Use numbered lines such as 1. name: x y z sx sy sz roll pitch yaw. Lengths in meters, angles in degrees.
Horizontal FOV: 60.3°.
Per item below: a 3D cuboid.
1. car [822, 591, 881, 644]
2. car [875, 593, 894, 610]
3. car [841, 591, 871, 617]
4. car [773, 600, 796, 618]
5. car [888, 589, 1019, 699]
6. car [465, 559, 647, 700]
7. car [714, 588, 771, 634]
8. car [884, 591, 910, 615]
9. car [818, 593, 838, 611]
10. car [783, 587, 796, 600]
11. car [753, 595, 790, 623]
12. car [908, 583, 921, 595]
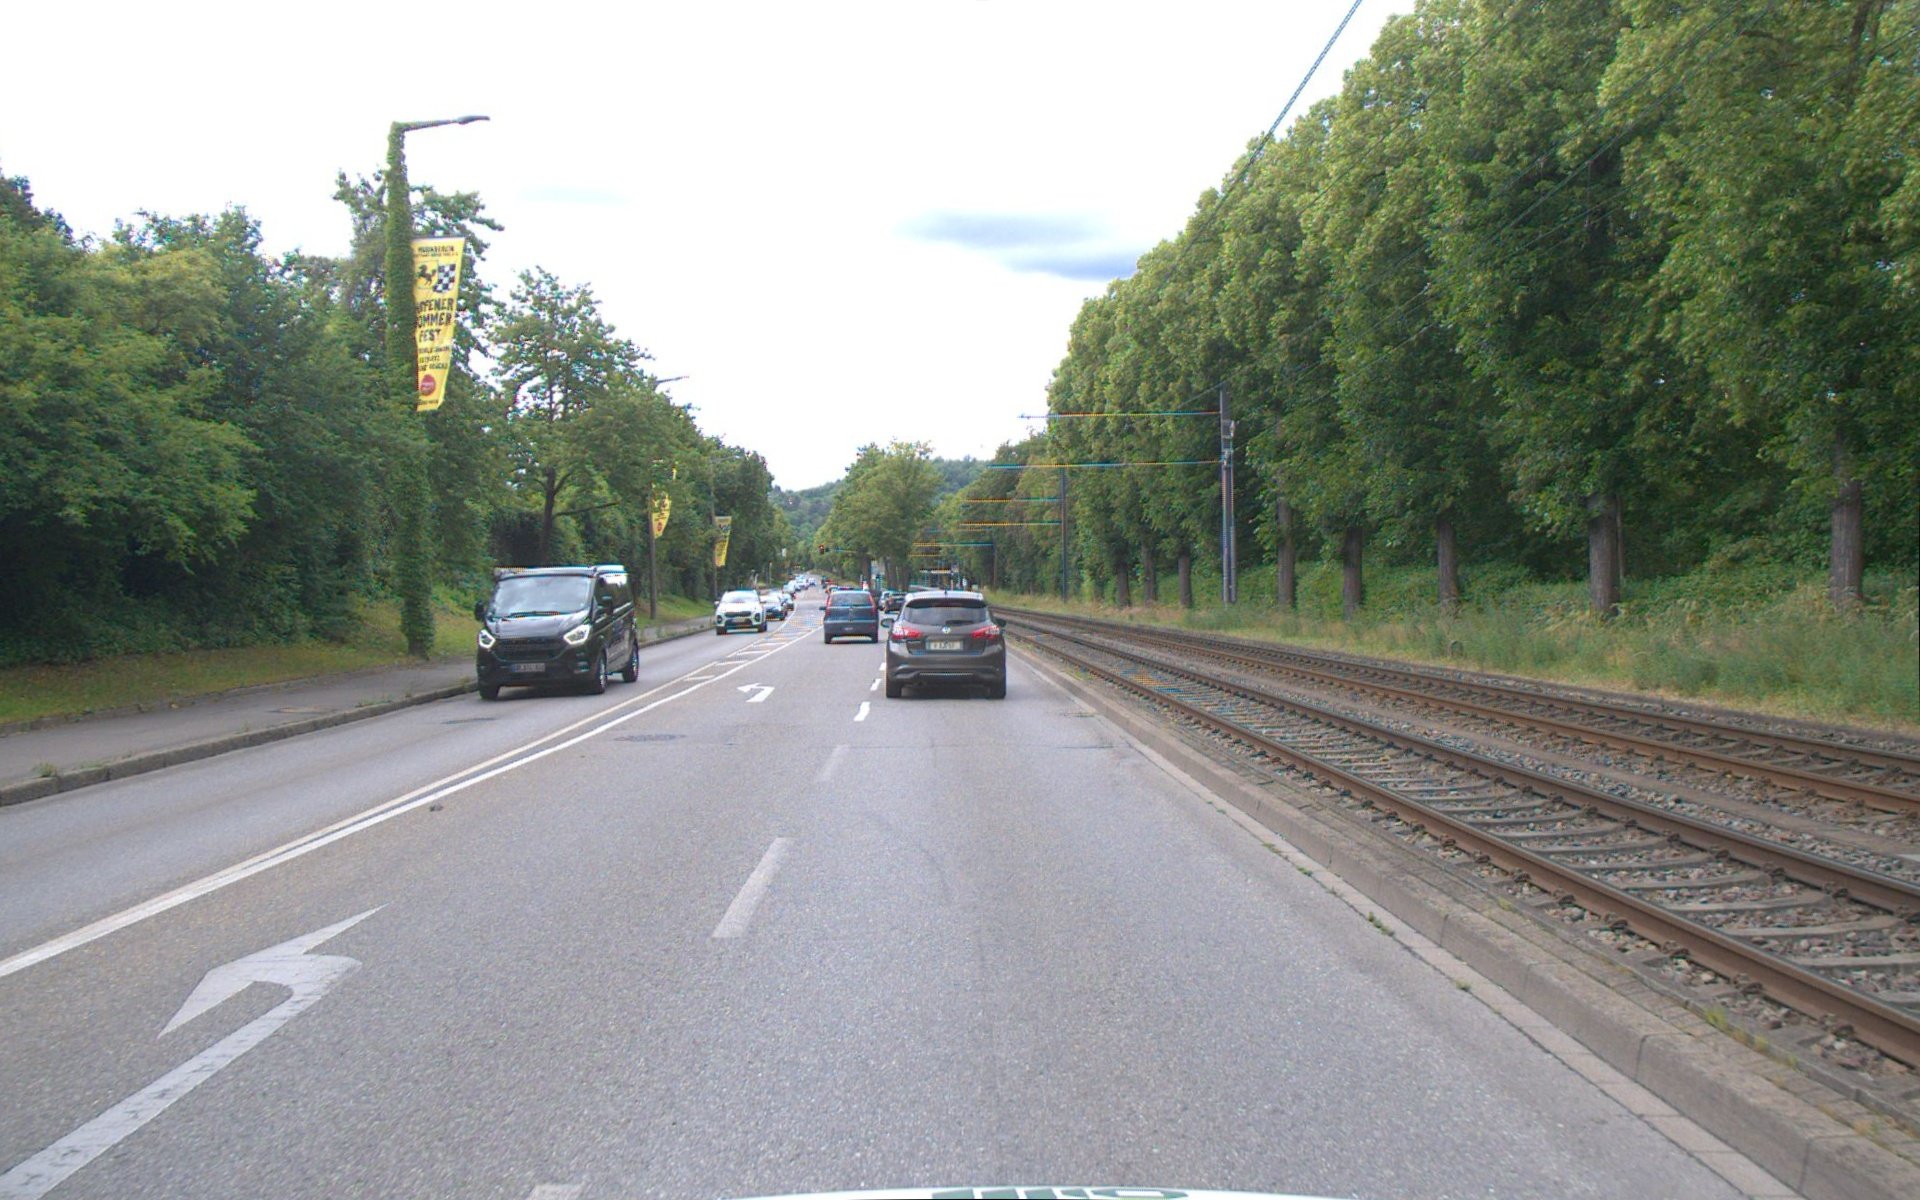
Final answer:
1. car: -3.154 0.479 48.455 1.666 1.469 3.998 0 0 -3
2. car: -6.869 0.148 150.949 1.681 1.577 3.998 0 0 -2
3. car: -6.155 0.245 97.979 1.681 1.460 3.998 0 0 -2
4. car: -14.872 0.789 140.225 1.806 1.399 4.442 -3 0 -6
5. car: -0.120 0.607 24.929 1.813 1.519 3.999 0 0 -1
6. car: -6.673 0.439 27.899 1.954 2.071 5.113 -3 0 -3
7. car: -8.507 0.411 64.958 1.805 1.648 4.157 -2 0 -3
8. car: -4.221 0.229 110.764 1.681 1.577 3.998 0 0 -2
9. car: -12.884 0.201 162.117 1.665 1.744 3.999 0 0 -1
10. car: -23.445 -0.927 227.077 1.681 1.791 3.996 0 0 -4
11. car: -10.414 0.459 91.419 1.731 1.424 4.213 -3 0 -3
12. car: -6.280 -1.515 227.914 1.681 1.692 3.704 0 0 -4
